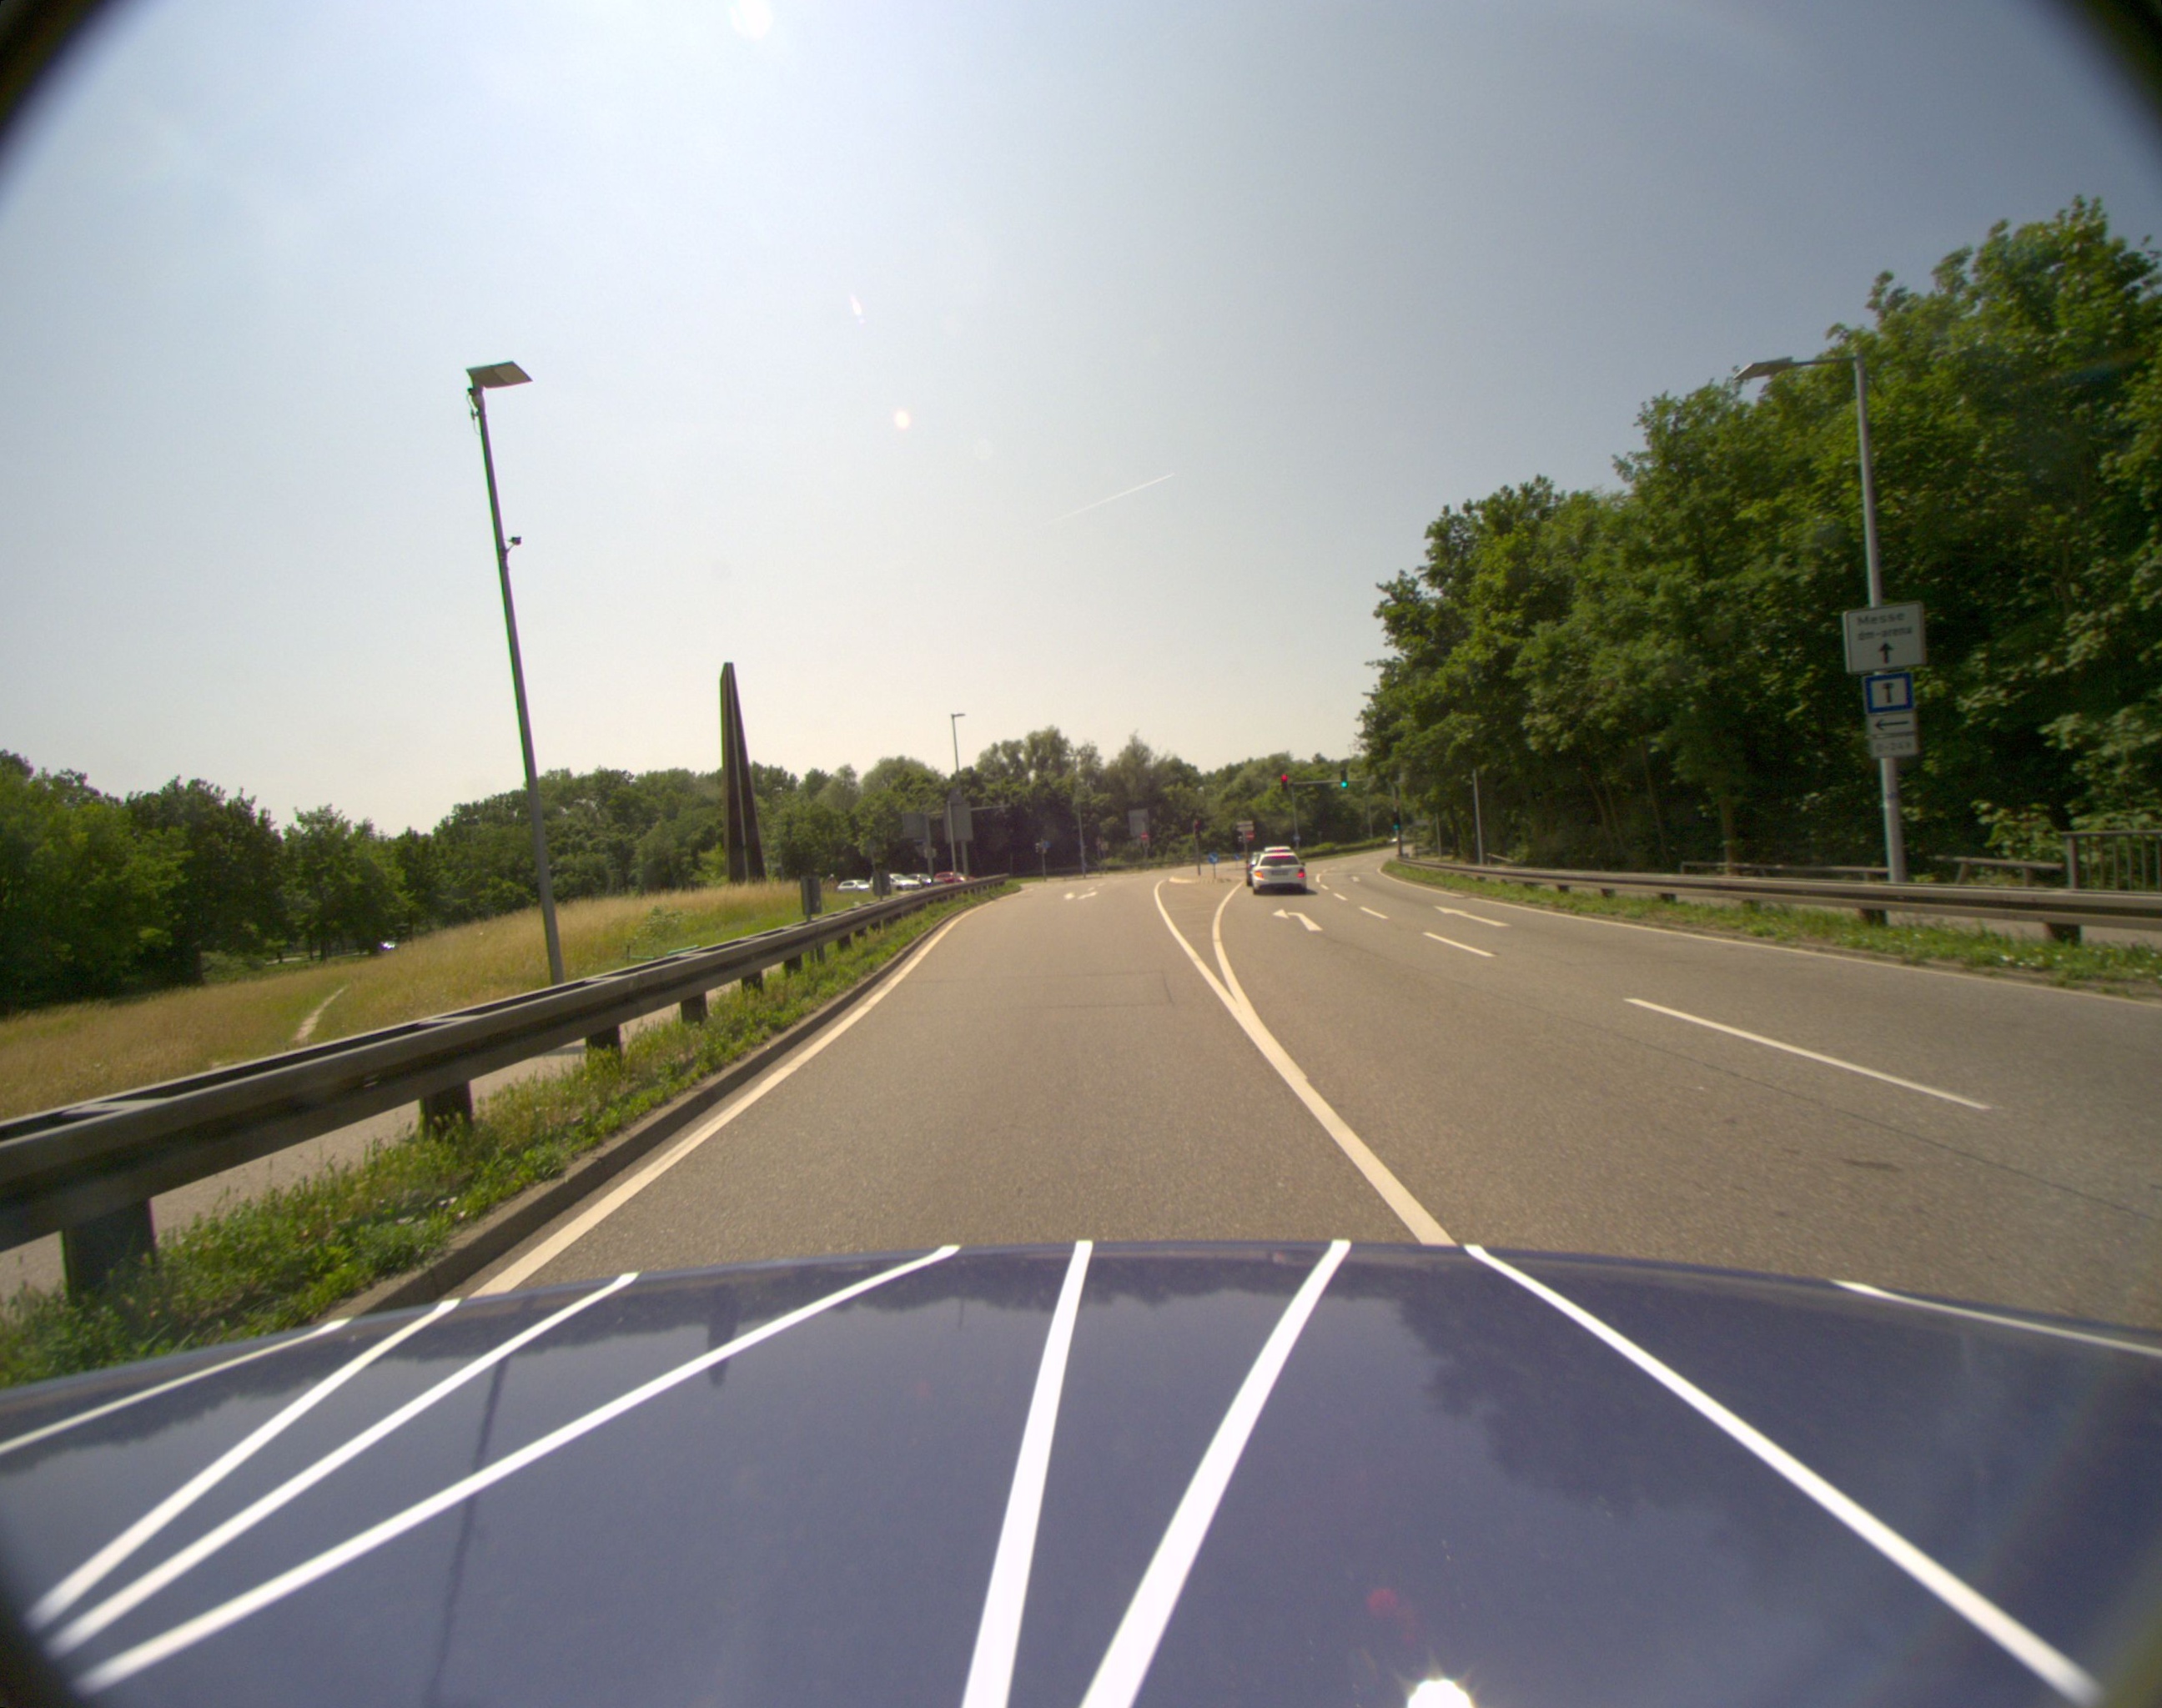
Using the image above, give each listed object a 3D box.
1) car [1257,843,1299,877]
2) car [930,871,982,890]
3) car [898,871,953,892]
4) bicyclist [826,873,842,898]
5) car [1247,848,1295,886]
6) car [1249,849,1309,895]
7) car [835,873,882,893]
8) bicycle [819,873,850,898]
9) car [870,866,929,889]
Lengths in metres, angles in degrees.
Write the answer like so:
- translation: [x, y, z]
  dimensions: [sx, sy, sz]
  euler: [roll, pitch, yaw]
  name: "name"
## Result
- translation: [10.265, 0.273, 39.864]
  dimensions: [1.831, 1.629, 4.582]
  euler: [-3, 0, 12]
  name: "car"
- translation: [-10.532, 2.225, 64.170]
  dimensions: [4.176, 1.346, 1.758]
  euler: [-4, 0, 34]
  name: "car"
- translation: [-12.610, 2.214, 61.457]
  dimensions: [4.176, 1.415, 1.871]
  euler: [-4, 0, 34]
  name: "car"
- translation: [-16.465, 2.089, 50.620]
  dimensions: [0.690, 1.589, 0.672]
  euler: [-4, 1, 38]
  name: "bicyclist"
- translation: [8.222, 0.511, 32.944]
  dimensions: [1.830, 1.398, 4.551]
  euler: [-3, 0, 14]
  name: "car"
- translation: [6.971, 0.578, 26.912]
  dimensions: [1.830, 1.398, 4.892]
  euler: [-2, 0, 14]
  name: "car"
- translation: [-19.137, 2.495, 65.250]
  dimensions: [3.990, 1.422, 1.585]
  euler: [-4, 0, 34]
  name: "car"
- translation: [-16.386, 2.106, 50.556]
  dimensions: [2.368, 1.565, 0.657]
  euler: [-4, 0, 38]
  name: "bicycle"
- translation: [-13.848, 1.802, 57.835]
  dimensions: [4.286, 1.497, 1.871]
  euler: [-4, 0, 34]
  name: "car"
